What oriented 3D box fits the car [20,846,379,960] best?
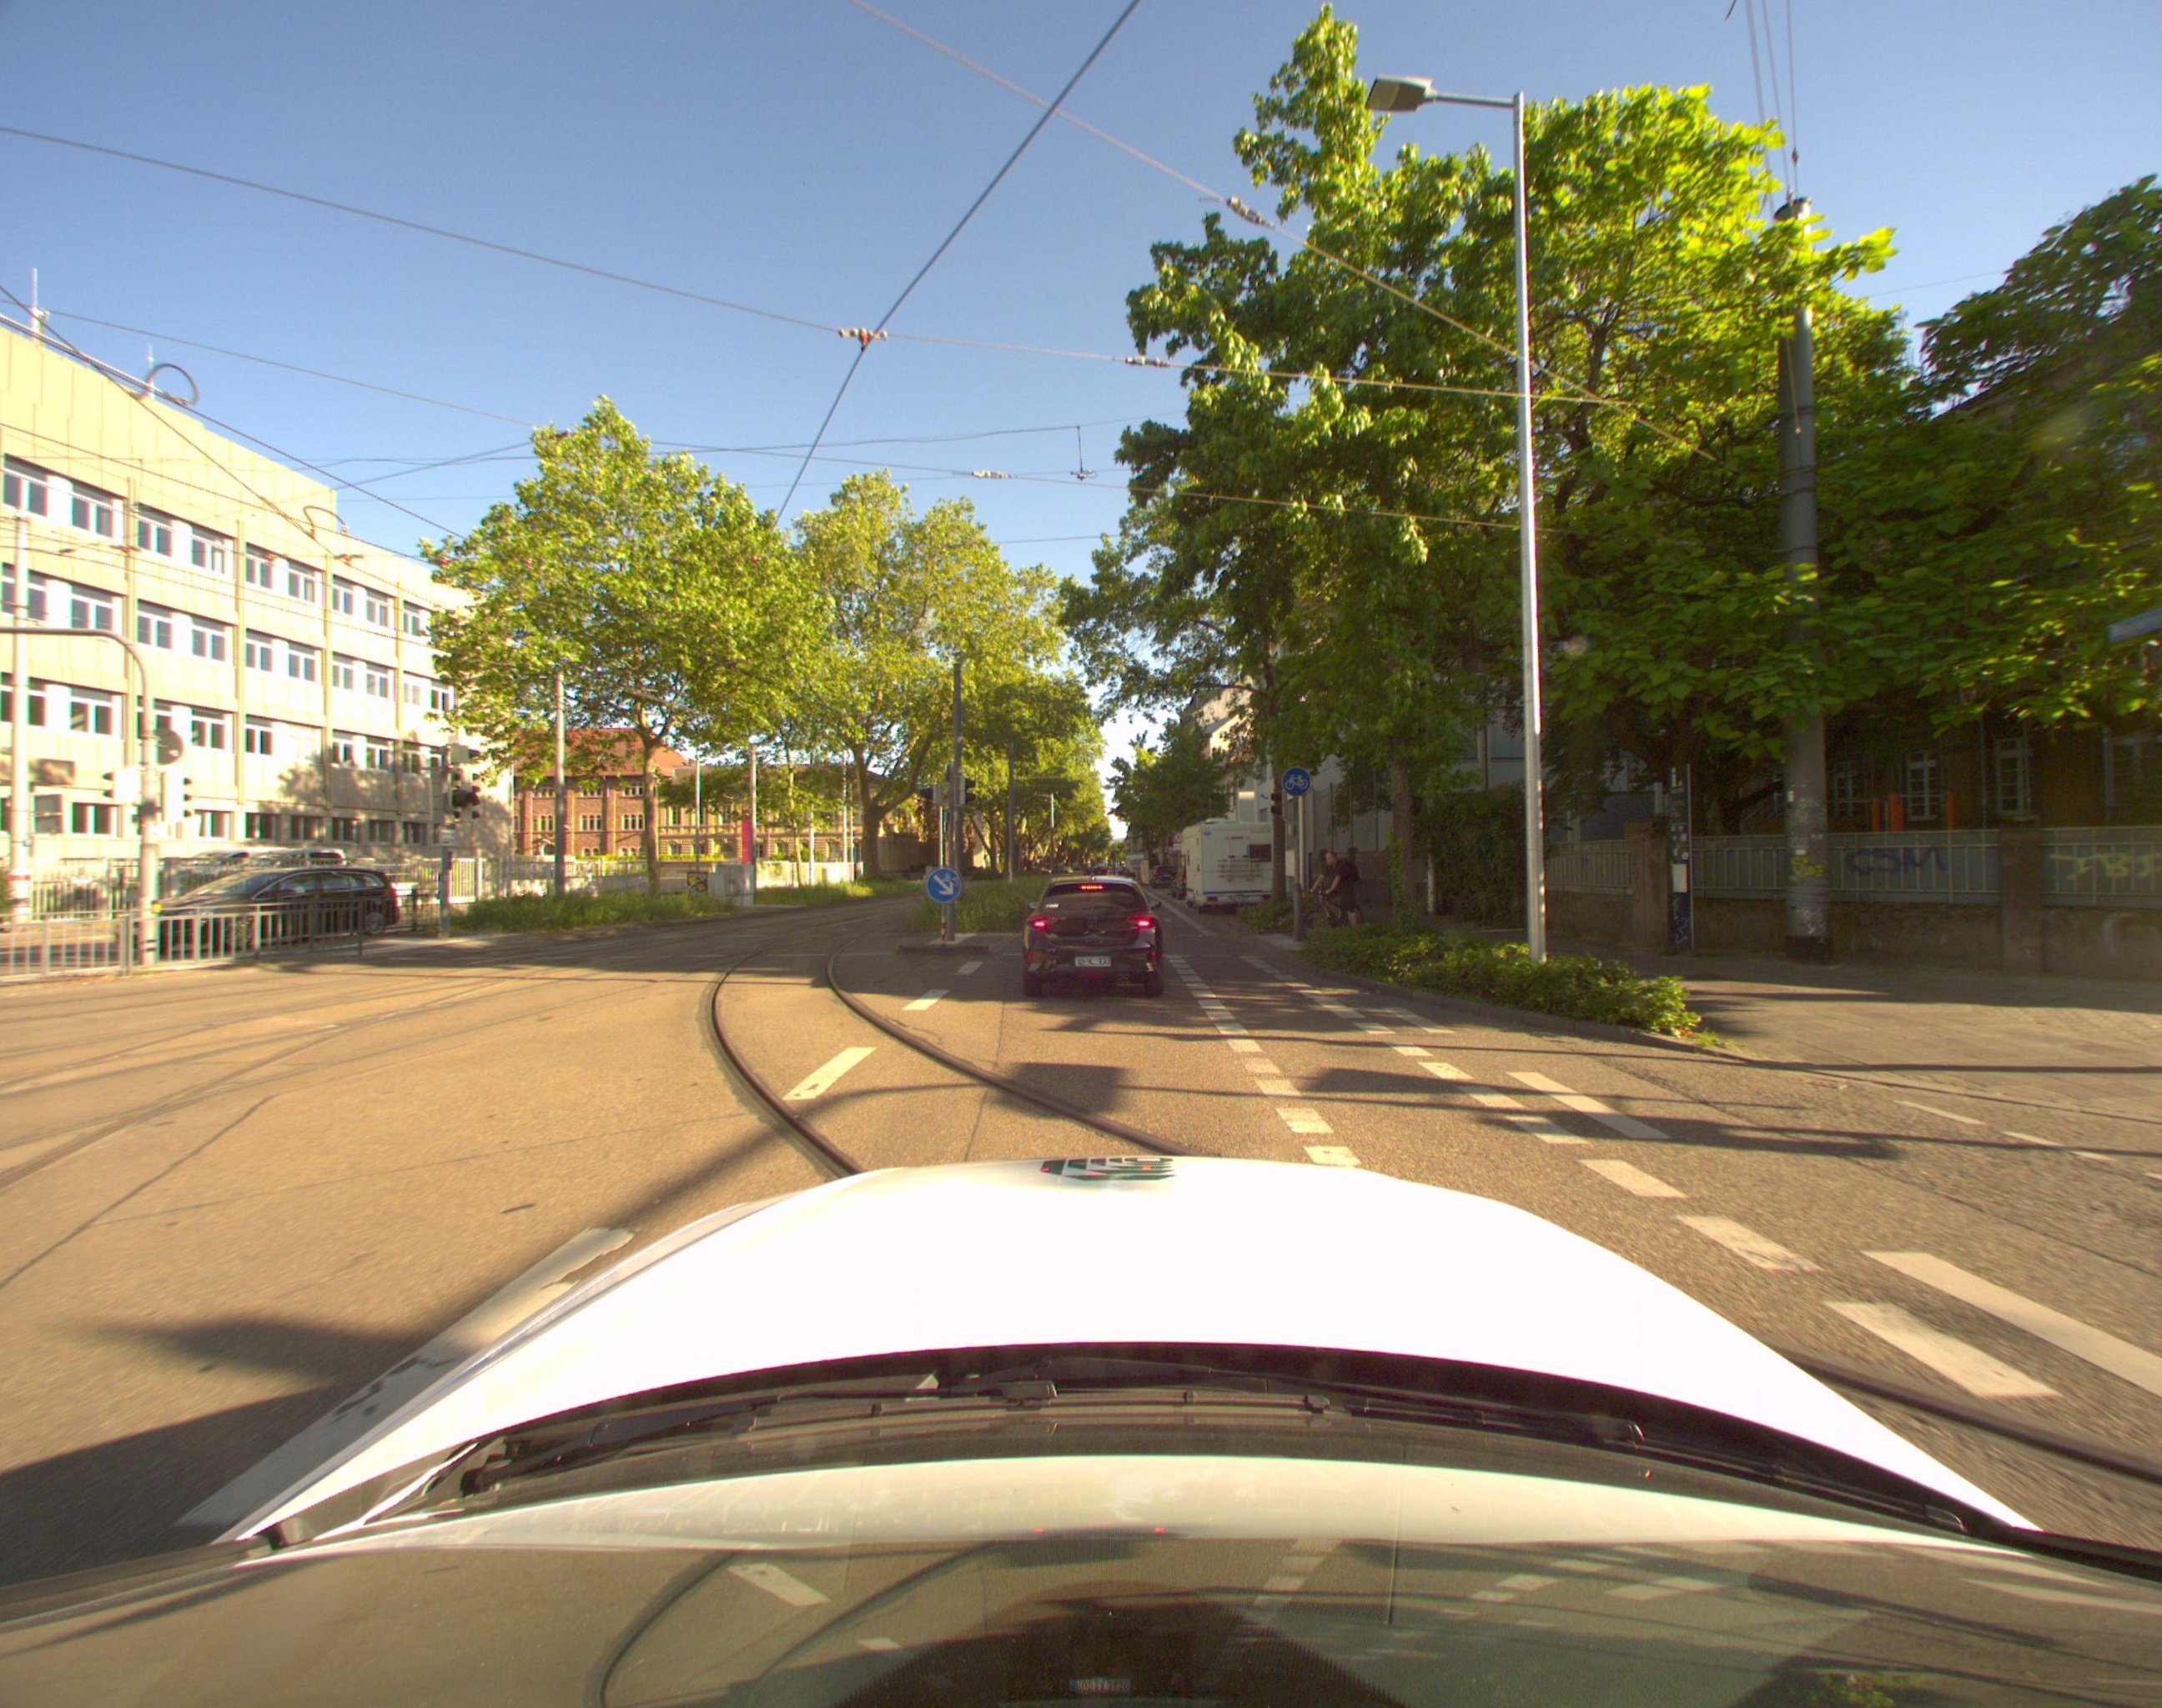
[{"bbox_3d":[-17.055,0.861,16.177,1.982,1.948,4.435,-1,-1,9],"label":"car"}]

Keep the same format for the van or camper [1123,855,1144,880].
[{"bbox_3d":[6.545,1.678,101.201,2.476,2.994,5.438,1,-1,3],"label":"van or camper"}]

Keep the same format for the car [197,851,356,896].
[{"bbox_3d":[-33.272,0.783,33.883,1.983,1.703,4.386,-1,-1,7],"label":"car"}]

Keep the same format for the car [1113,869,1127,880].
[{"bbox_3d":[5.593,2.902,115.973,1.897,1.425,4.219,0,-1,3],"label":"car"}]

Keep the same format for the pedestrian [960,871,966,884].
[{"bbox_3d":[-15.485,3.107,107.017,0.656,1.622,0.615,2,-1,1],"label":"pedestrian"}]

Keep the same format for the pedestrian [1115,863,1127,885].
[{"bbox_3d":[3.623,1.800,74.020,1.032,2.024,1.213,0,-1,1],"label":"pedestrian"}]

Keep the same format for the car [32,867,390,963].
[{"bbox_3d":[-17.119,1.096,16.511,1.985,1.616,4.759,-1,-1,3],"label":"car"}]

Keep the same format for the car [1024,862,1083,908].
[{"bbox_3d":[-1.012,1.180,32.106,1.986,1.627,4.471,2,-1,2],"label":"car"}]

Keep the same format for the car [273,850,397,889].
[{"bbox_3d":[-40.652,0.822,44.462,4.730,2.014,1.997,-1,-1,-4],"label":"car"}]

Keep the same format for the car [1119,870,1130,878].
[{"bbox_3d":[7.838,3.564,147.459,1.897,1.425,4.219,0,-1,3],"label":"car"}]

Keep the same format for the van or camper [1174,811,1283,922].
[{"bbox_3d":[4.759,0.428,27.656,2.367,3.125,7.552,-3,-1,2],"label":"van or camper"}]

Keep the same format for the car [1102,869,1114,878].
[{"bbox_3d":[4.742,3.403,141.761,1.897,1.425,4.219,0,-1,3],"label":"car"}]

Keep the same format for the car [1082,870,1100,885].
[{"bbox_3d":[1.076,2.486,86.999,1.783,1.510,3.876,-2,-1,3],"label":"car"}]

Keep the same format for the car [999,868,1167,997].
[{"bbox_3d":[0.151,0.928,11.287,1.897,1.425,4.219,0,-1,3],"label":"car"}]

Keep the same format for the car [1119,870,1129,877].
[{"bbox_3d":[8.380,3.755,158.576,1.897,1.425,4.219,0,-1,3],"label":"car"}]

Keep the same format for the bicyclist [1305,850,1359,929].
[{"bbox_3d":[4.944,0.688,16.062,0.702,1.510,0.745,0,-1,-22],"label":"bicyclist"}]

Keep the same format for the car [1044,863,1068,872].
[{"bbox_3d":[-5.964,3.267,197.303,5.665,2.198,2.290,-1,-1,2],"label":"car"}]

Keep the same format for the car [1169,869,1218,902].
[{"bbox_3d":[5.108,1.411,37.499,1.680,1.420,4.048,-1,-1,0],"label":"car"}]

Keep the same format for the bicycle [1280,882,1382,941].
[{"bbox_3d":[4.935,1.109,16.049,1.952,1.070,0.636,0,-1,-23],"label":"bicycle"}]

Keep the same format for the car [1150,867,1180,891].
[{"bbox_3d":[5.571,1.643,54.446,1.783,1.510,3.876,-2,-1,3],"label":"car"}]

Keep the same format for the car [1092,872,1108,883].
[{"bbox_3d":[2.516,3.040,106.694,1.897,1.425,4.219,0,-1,3],"label":"car"}]

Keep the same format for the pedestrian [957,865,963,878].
[{"bbox_3d":[-15.841,2.295,106.903,0.616,1.733,0.596,2,-1,1],"label":"pedestrian"}]

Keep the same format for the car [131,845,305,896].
[{"bbox_3d":[-36.280,0.679,34.462,1.983,2.014,4.734,-1,-1,7],"label":"car"}]
